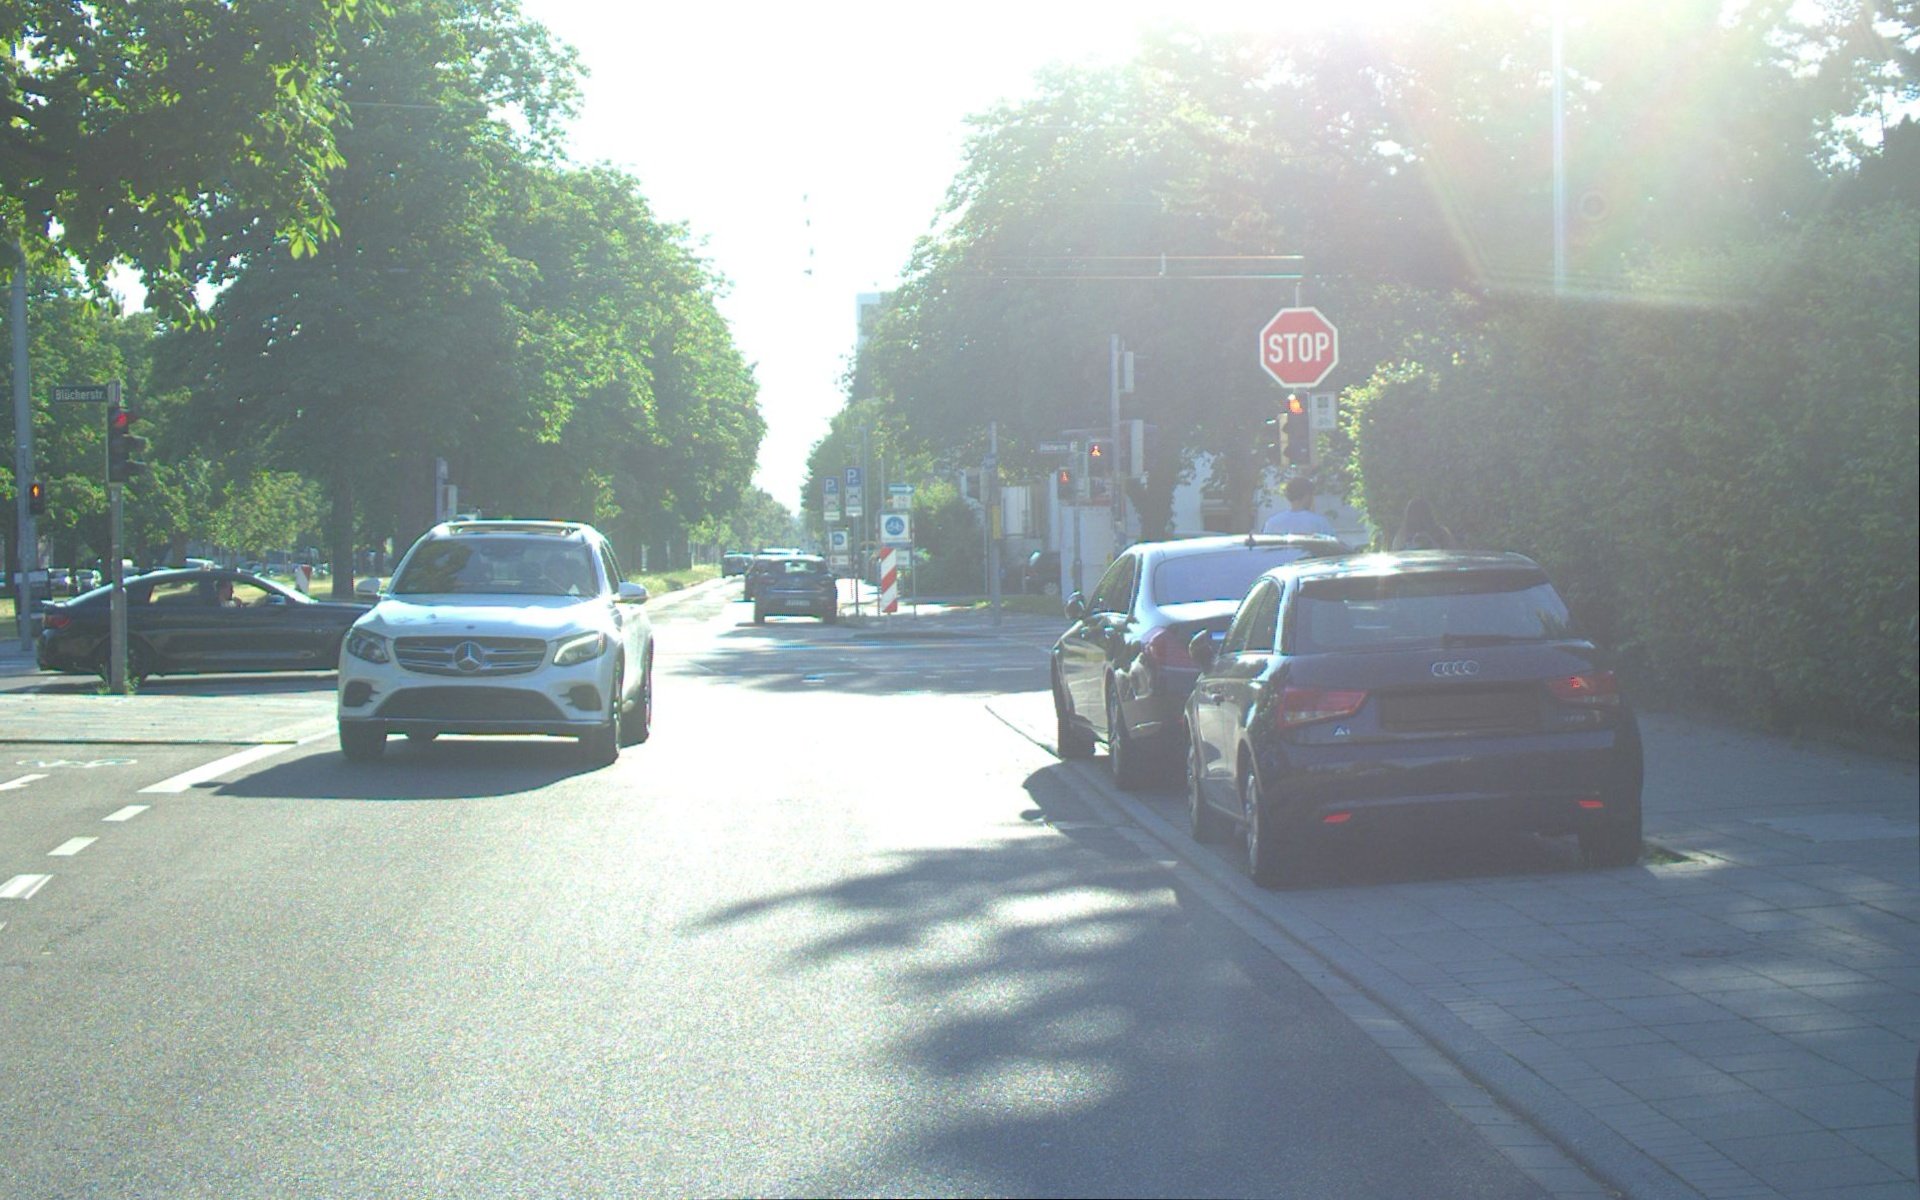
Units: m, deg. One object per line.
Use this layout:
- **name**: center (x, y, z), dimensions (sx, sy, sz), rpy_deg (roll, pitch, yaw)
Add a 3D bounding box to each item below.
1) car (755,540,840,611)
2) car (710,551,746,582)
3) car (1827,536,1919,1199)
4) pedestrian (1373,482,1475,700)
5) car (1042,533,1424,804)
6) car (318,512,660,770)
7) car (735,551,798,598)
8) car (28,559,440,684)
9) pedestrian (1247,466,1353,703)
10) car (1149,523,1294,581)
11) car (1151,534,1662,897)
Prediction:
- **car**: center (-3.413, -0.537, 72.736), dimensions (1.641, 1.446, 3.307), rpy_deg (0, 1, 0)
- **car**: center (-15.042, -2.187, 223.038), dimensions (2.134, 2.007, 3.902), rpy_deg (0, 1, -2)
- **car**: center (2.624, 0.646, 4.371), dimensions (1.746, 1.469, 4.256), rpy_deg (0, 1, -3)
- **pedestrian**: center (3.676, -0.078, 27.267), dimensions (0.669, 1.702, 0.623), rpy_deg (0, 1, -5)
- **car**: center (1.628, 0.356, 22.180), dimensions (1.859, 1.537, 4.874), rpy_deg (-1, 1, -2)
- **car**: center (-3.270, 0.231, 24.690), dimensions (1.891, 1.671, 4.425), rpy_deg (1, 1, -1)
- **car**: center (-5.991, -0.802, 106.661), dimensions (1.845, 1.389, 3.829), rpy_deg (0, 1, -2)
- **car**: center (-8.770, 0.232, 41.576), dimensions (4.763, 1.429, 1.815), rpy_deg (0, 1, -13)
- **pedestrian**: center (2.698, -0.127, 27.352), dimensions (0.670, 1.859, 0.882), rpy_deg (0, 1, -6)
- **car**: center (7.149, -1.325, 94.271), dimensions (3.779, 1.520, 1.744), rpy_deg (0, 2, -2)
- **car**: center (1.948, 0.439, 16.100), dimensions (1.641, 1.423, 3.937), rpy_deg (-2, 1, -3)
